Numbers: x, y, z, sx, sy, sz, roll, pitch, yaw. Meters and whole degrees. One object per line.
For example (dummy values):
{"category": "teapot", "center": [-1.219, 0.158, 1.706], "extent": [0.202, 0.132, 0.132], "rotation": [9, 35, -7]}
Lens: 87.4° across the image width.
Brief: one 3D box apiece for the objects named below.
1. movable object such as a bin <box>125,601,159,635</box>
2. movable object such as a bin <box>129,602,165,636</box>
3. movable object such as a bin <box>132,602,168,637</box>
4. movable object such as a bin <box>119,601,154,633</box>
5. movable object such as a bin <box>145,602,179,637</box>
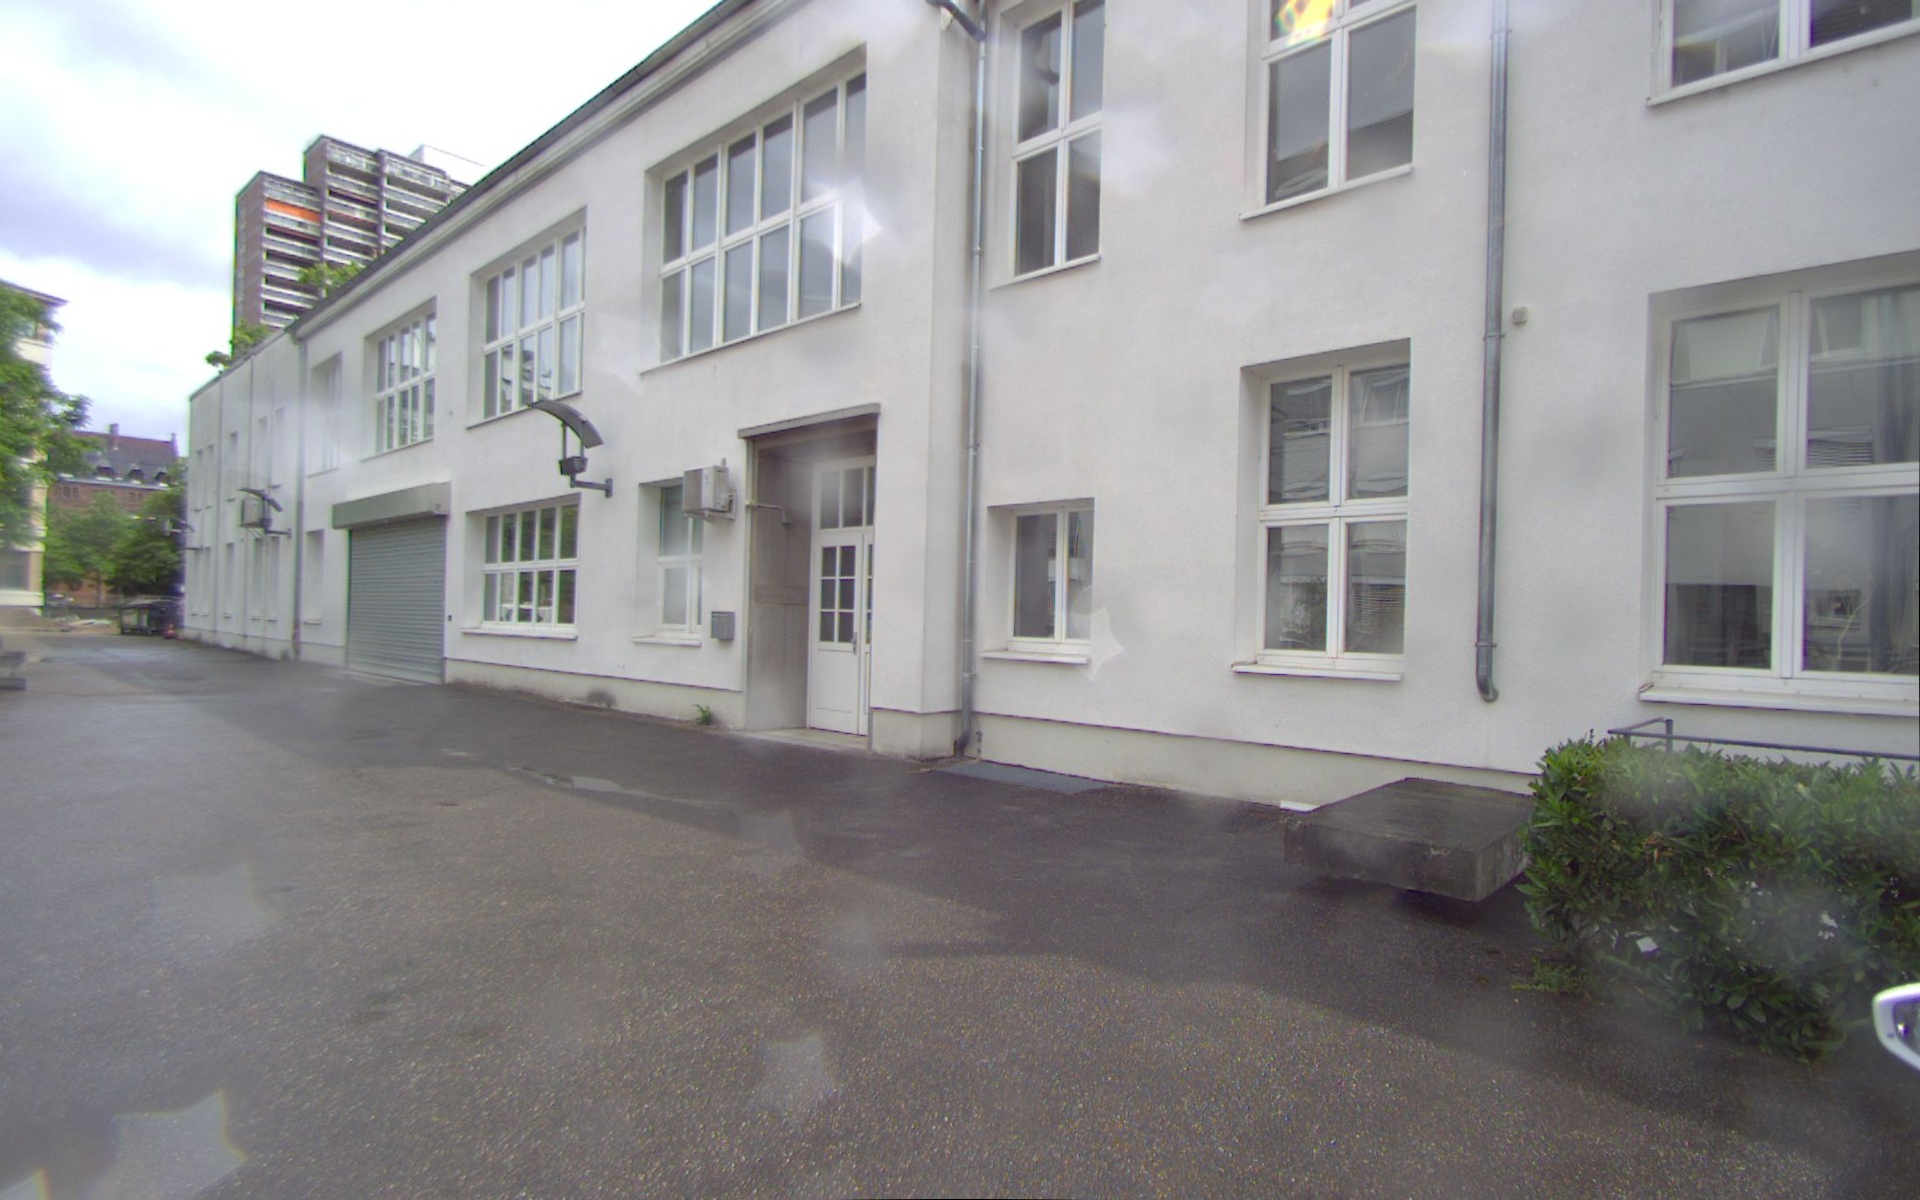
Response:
{"category": "movable object such as a bin", "center": [-35.036, 0.766, 43.017], "extent": [1.059, 1.374, 1.248], "rotation": [2, 0, -43]}
{"category": "movable object such as a bin", "center": [-33.926, 0.790, 41.923], "extent": [1.056, 1.374, 1.203], "rotation": [2, 0, -43]}
{"category": "movable object such as a bin", "center": [-33.026, 0.809, 40.943], "extent": [1.039, 1.374, 1.192], "rotation": [2, 0, -43]}
{"category": "movable object such as a bin", "center": [-36.030, 0.744, 43.941], "extent": [1.059, 1.374, 1.248], "rotation": [2, 0, -43]}
{"category": "movable object such as a bin", "center": [-31.671, 0.781, 39.851], "extent": [0.972, 1.374, 0.907], "rotation": [2, 0, -43]}
